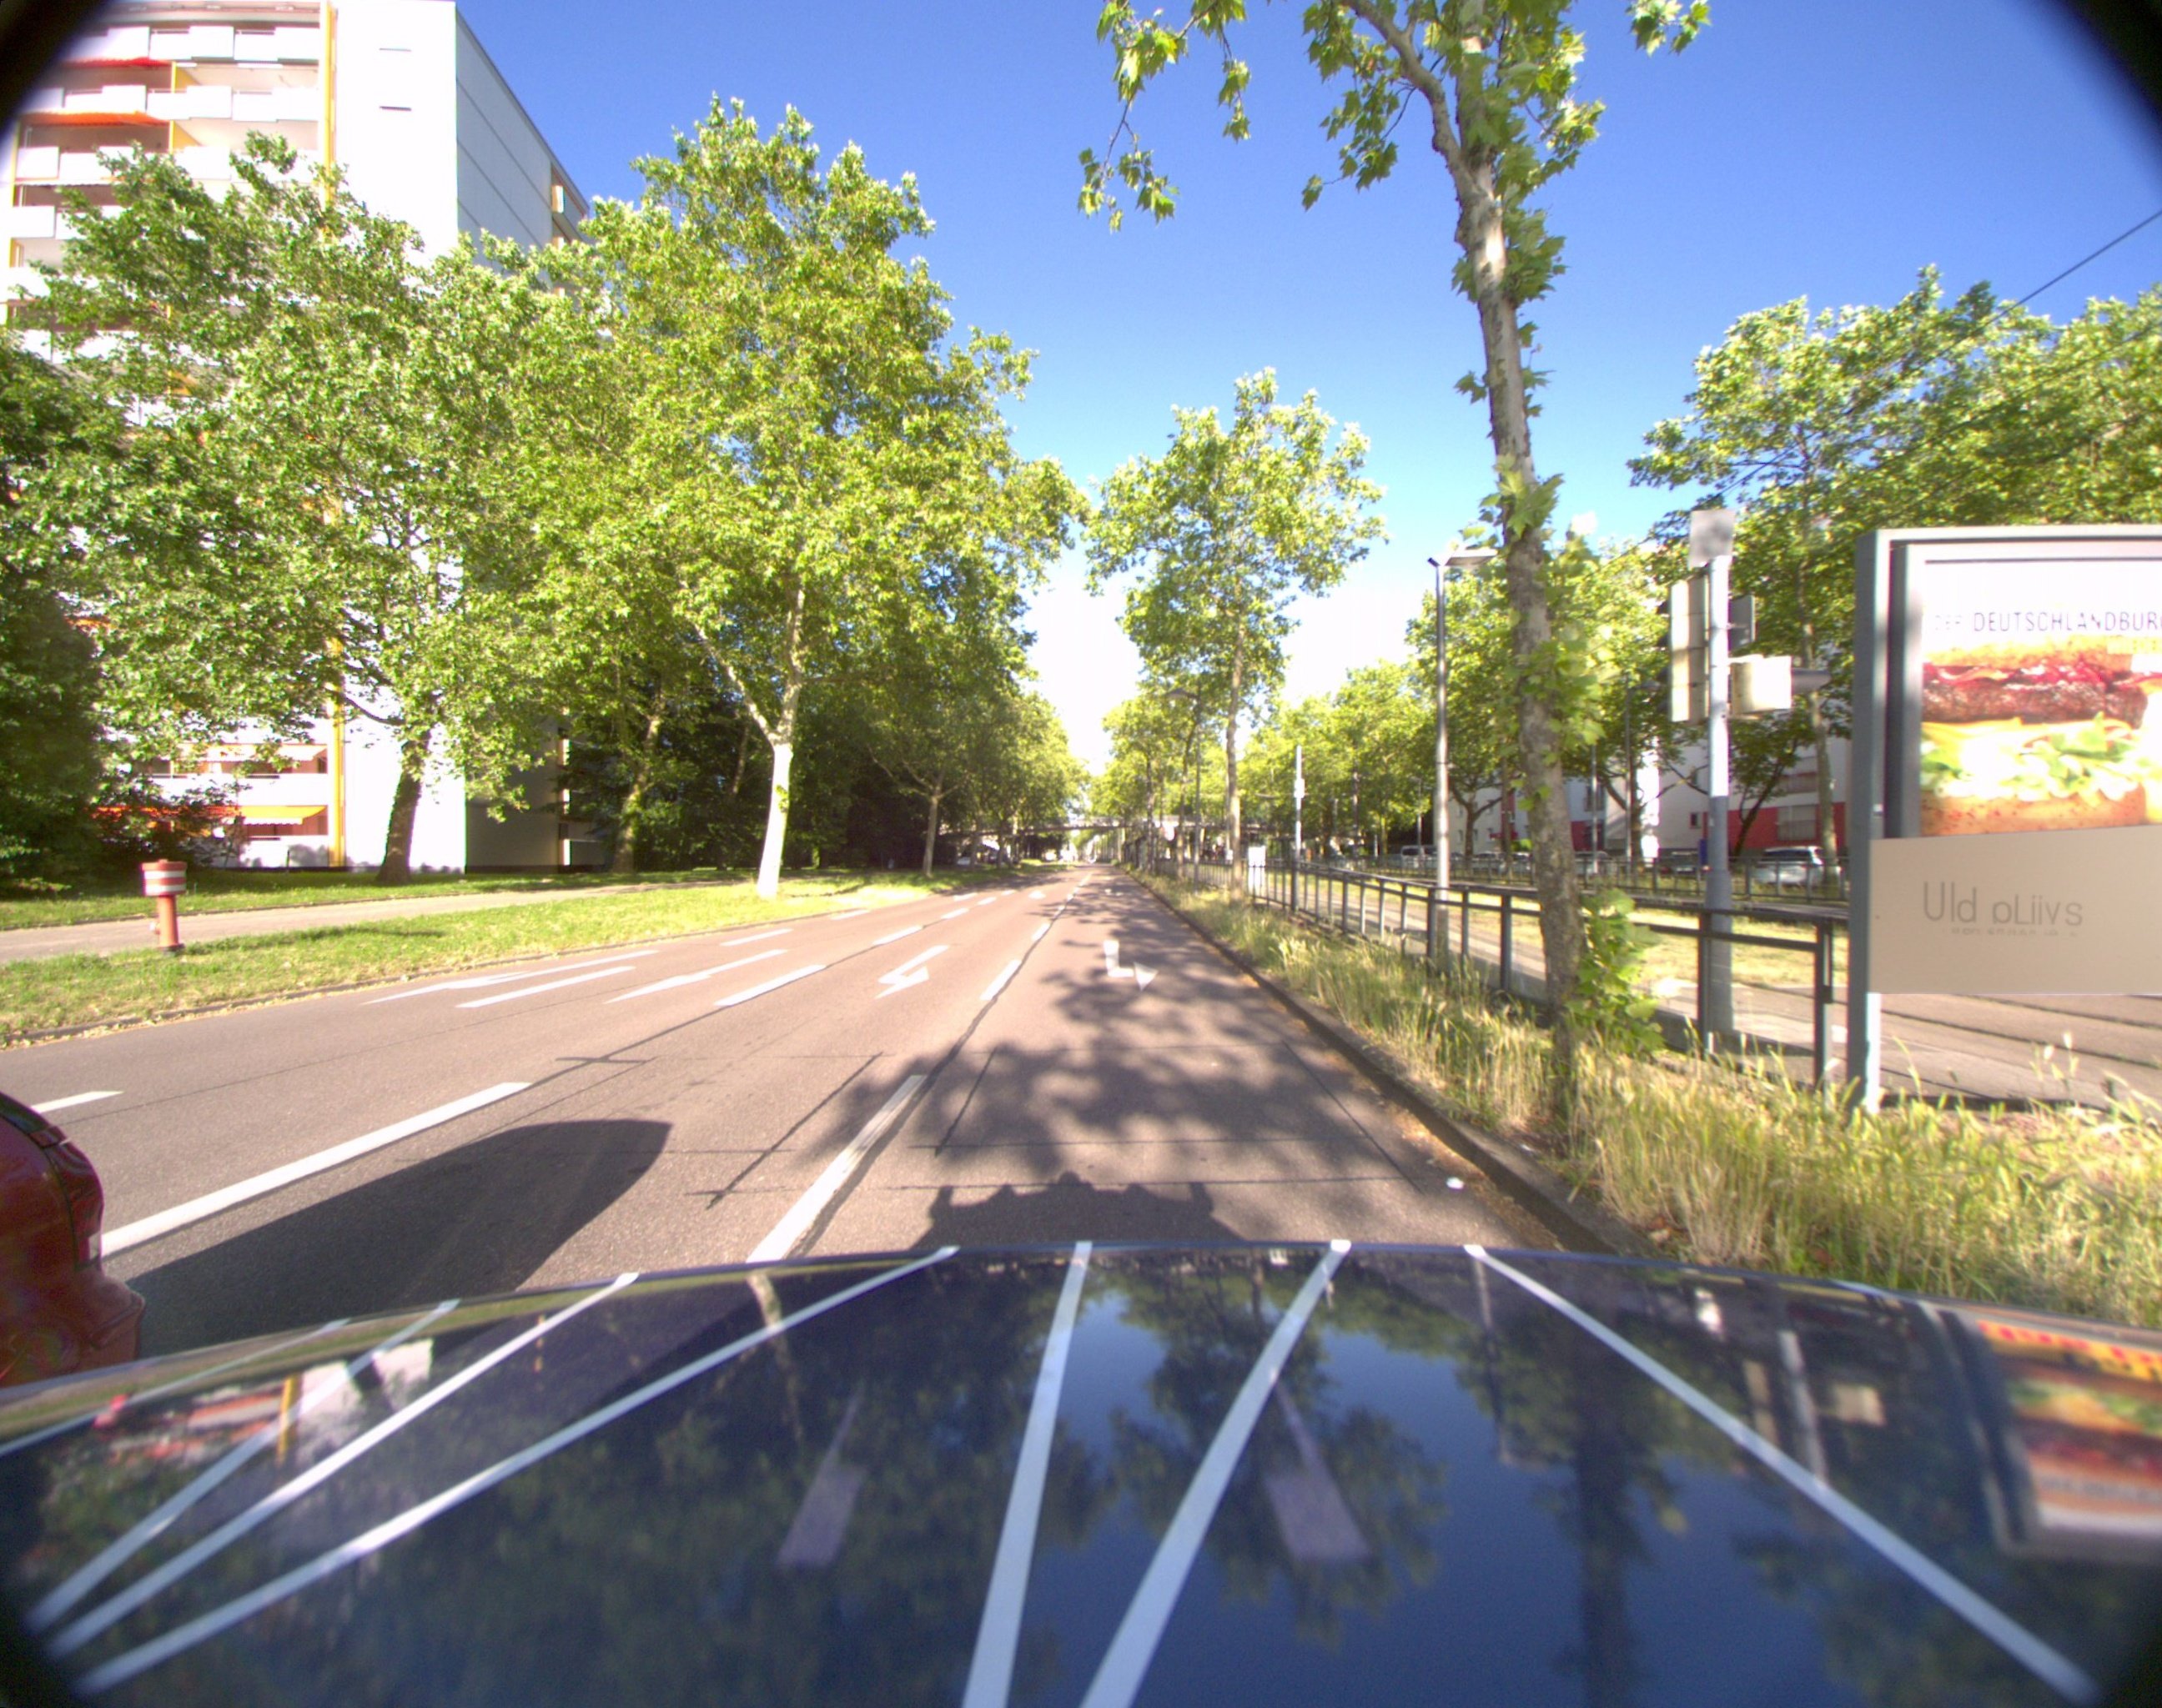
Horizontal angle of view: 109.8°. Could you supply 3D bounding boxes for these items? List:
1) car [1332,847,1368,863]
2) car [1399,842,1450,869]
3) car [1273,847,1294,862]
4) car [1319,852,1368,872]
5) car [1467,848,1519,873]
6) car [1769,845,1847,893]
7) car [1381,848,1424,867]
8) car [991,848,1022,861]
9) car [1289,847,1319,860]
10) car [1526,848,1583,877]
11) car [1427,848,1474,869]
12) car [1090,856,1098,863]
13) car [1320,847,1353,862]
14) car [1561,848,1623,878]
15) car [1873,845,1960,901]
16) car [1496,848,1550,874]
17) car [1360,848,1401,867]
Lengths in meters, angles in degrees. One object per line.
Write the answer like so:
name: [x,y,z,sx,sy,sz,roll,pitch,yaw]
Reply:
car: [26.073,0.133,73.561,3.811,1.433,1.652,-2,0,-42]
car: [25.824,0.089,57.026,4.330,1.863,1.836,-2,0,-42]
car: [21.678,0.026,81.385,1.579,1.548,2.817,-2,0,3]
car: [20.393,0.593,59.202,1.656,1.501,4.639,-2,0,-9]
car: [25.856,0.397,47.675,3.811,1.433,1.652,-2,0,-42]
car: [25.361,0.489,26.472,3.811,1.501,1.652,-2,0,-42]
car: [25.736,0.269,60.748,3.811,1.433,1.652,-2,0,-42]
car: [-11.668,0.028,118.800,4.721,1.924,1.906,-2,0,-11]
car: [26.447,-0.048,89.971,3.811,1.433,1.652,-2,0,-42]
car: [25.868,0.443,41.475,3.811,1.433,1.652,-2,0,-42]
car: [26.308,0.310,54.028,3.811,1.433,1.652,-2,0,-42]
car: [2.850,1.220,167.197,1.580,1.395,3.638,-2,0,0]
car: [26.794,0.045,79.622,3.811,1.433,1.652,-2,0,-42]
car: [25.387,0.448,37.694,3.811,1.348,1.652,-2,0,-42]
car: [25.247,0.524,22.963,3.811,1.501,1.652,-2,0,-42]
car: [26.103,0.407,44.861,3.811,1.433,1.652,-2,0,-42]
car: [24.950,0.272,63.206,3.811,1.433,1.652,-2,0,-42]
